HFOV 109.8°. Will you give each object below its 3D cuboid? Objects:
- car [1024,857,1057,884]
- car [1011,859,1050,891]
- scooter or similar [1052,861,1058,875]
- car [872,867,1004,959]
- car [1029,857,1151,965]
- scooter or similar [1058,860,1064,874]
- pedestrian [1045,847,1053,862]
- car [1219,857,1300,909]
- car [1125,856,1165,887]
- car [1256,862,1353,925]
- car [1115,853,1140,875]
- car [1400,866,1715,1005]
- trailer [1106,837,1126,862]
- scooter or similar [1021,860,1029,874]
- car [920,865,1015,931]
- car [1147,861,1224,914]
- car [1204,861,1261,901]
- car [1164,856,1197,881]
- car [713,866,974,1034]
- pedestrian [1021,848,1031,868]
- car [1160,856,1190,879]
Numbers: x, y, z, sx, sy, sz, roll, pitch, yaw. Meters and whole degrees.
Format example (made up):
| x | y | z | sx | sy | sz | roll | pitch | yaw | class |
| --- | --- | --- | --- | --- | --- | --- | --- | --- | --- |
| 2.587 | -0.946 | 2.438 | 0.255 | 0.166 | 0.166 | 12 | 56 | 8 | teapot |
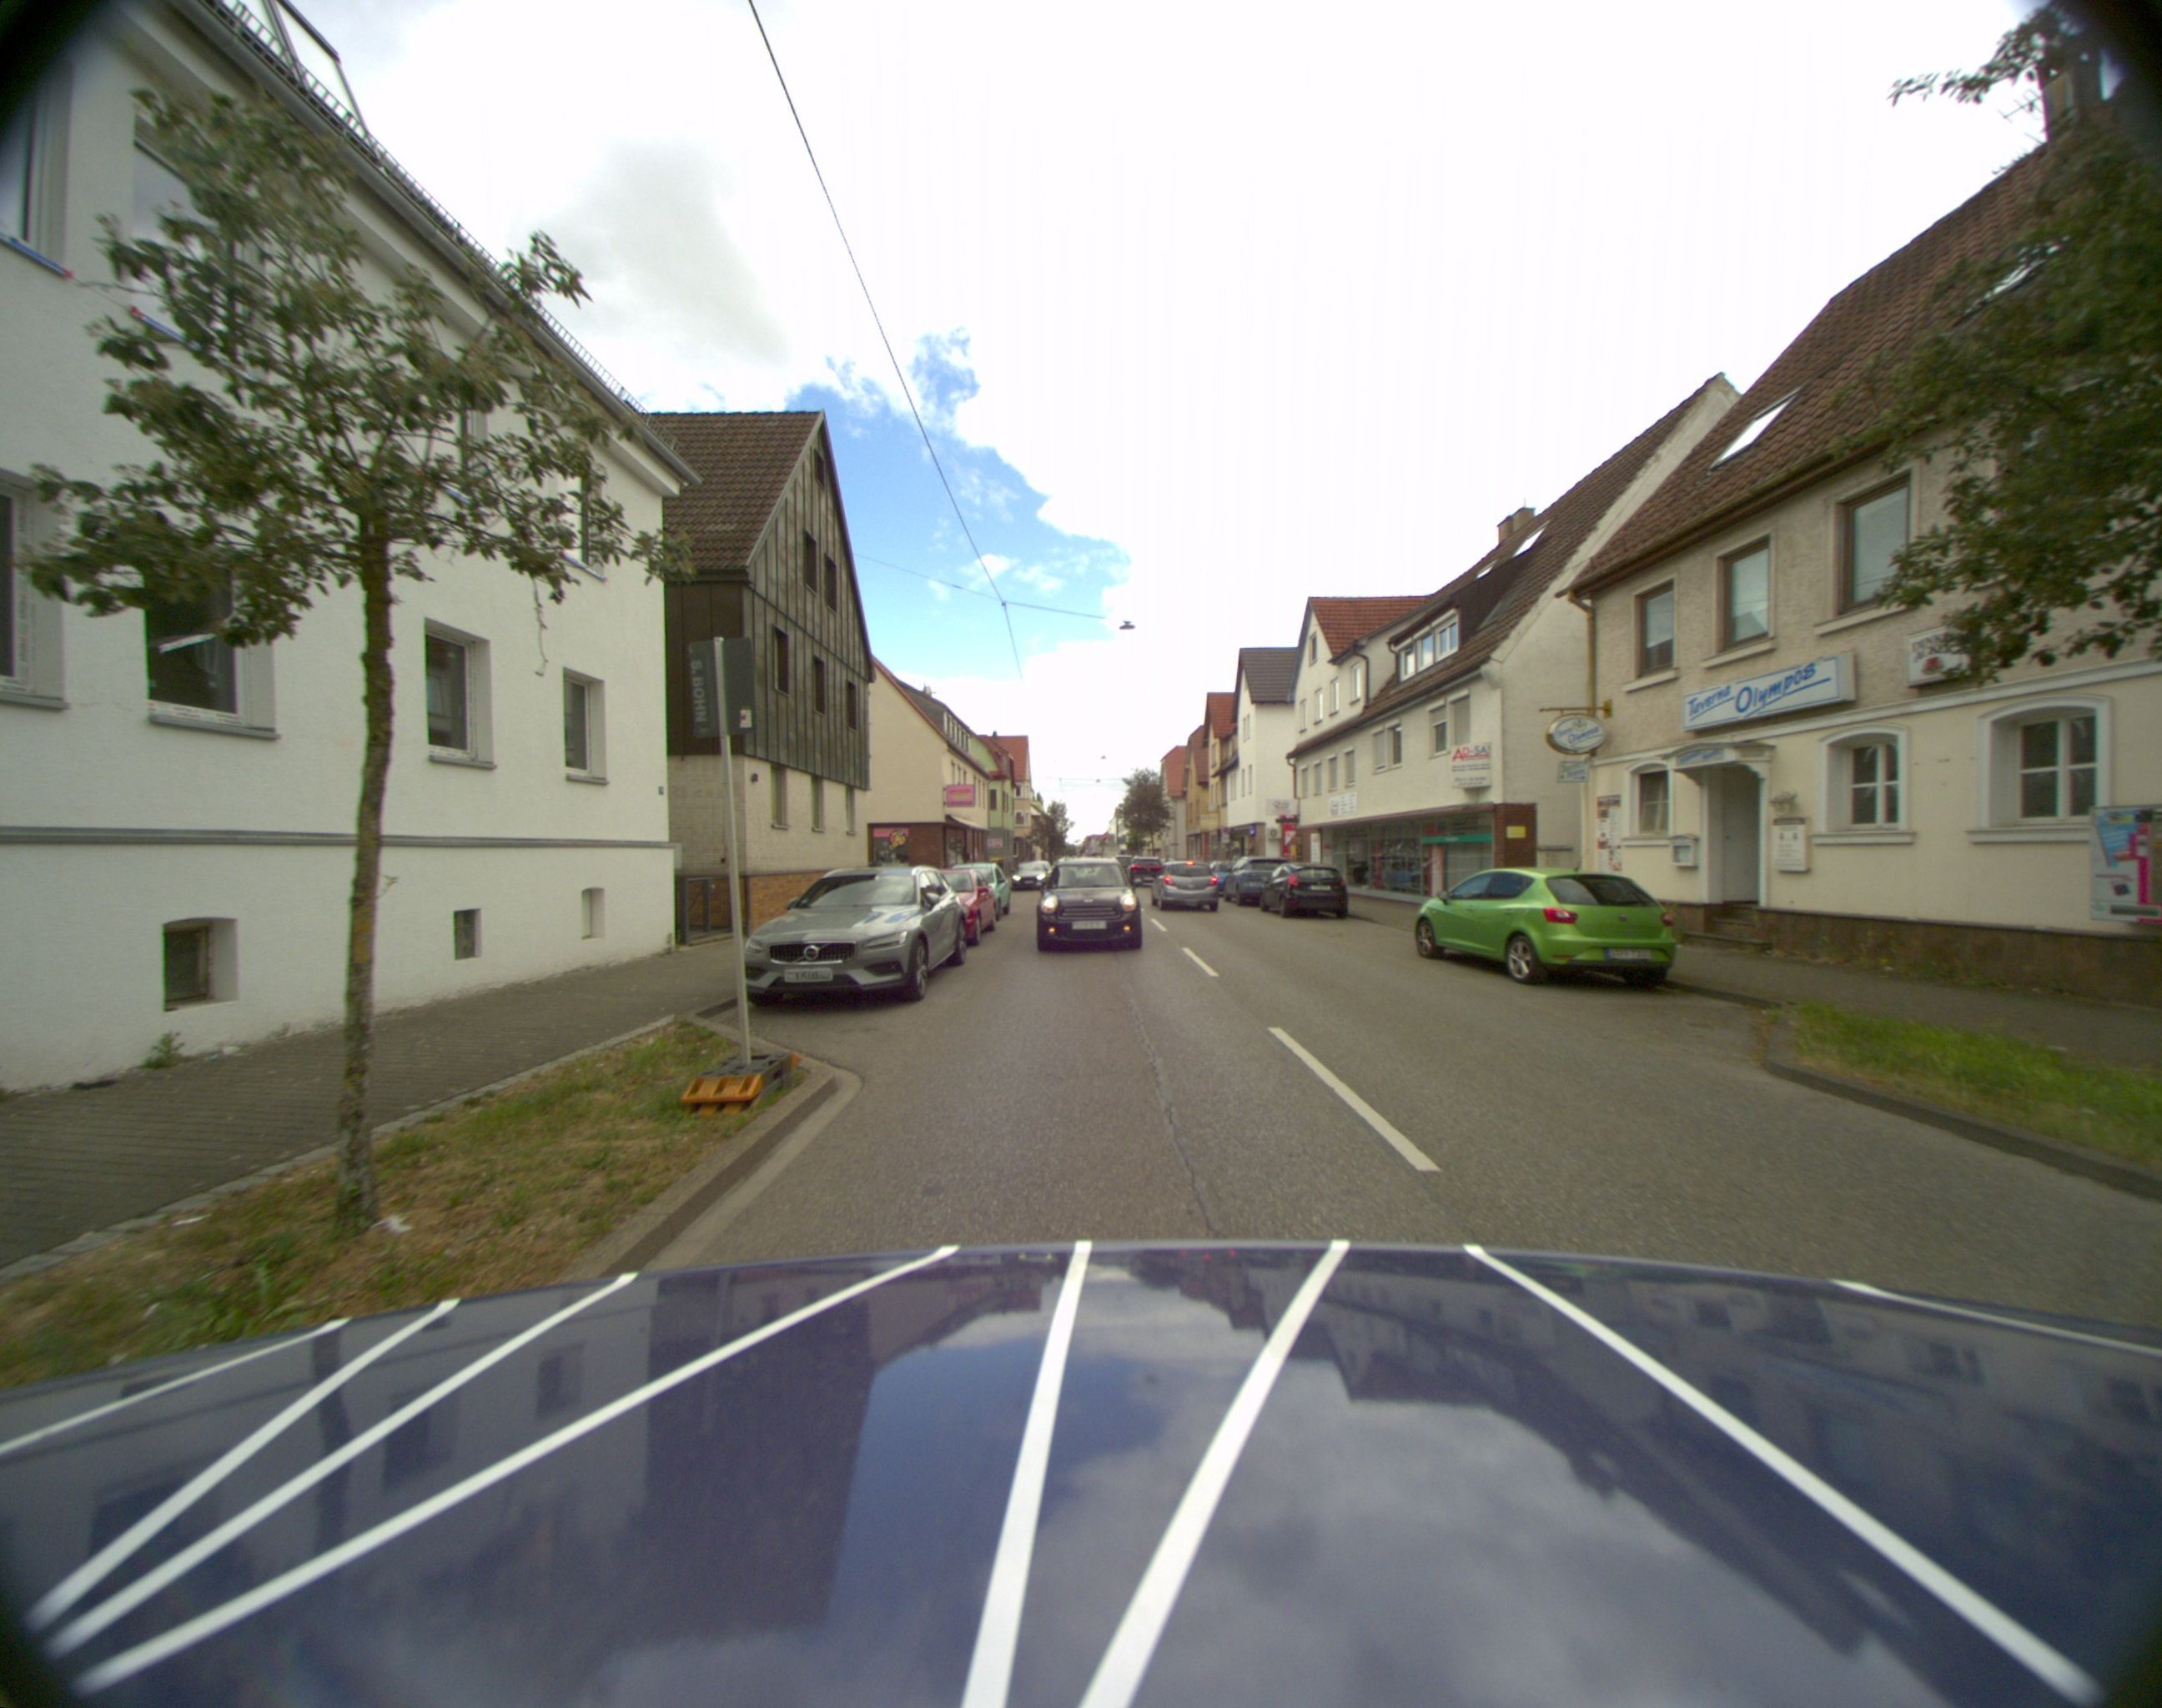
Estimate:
| x | y | z | sx | sy | sz | roll | pitch | yaw | class |
| --- | --- | --- | --- | --- | --- | --- | --- | --- | --- |
| -2.435 | 0.957 | 45.665 | 1.836 | 1.437 | 4.330 | -2 | 0 | -3 | car |
| -2.566 | 1.044 | 39.099 | 1.836 | 1.437 | 4.108 | -2 | 0 | -3 | car |
| -2.357 | 1.221 | 68.772 | 0.503 | 1.228 | 1.942 | -2 | 0 | 0 | scooter or similar |
| -2.688 | 1.061 | 15.312 | 1.759 | 1.437 | 4.454 | -2 | 0 | 0 | car |
| 0.149 | 0.916 | 14.247 | 1.847 | 1.571 | 4.429 | -3 | 0 | 0 | car |
| -1.822 | 1.198 | 68.781 | 0.503 | 1.228 | 1.942 | -2 | 0 | 0 | scooter or similar |
| -4.405 | 0.027 | 104.462 | 0.826 | 2.062 | 1.011 | 2 | 1 | 3 | pedestrian |
| 6.013 | 0.930 | 26.062 | 1.807 | 1.589 | 4.304 | 1 | 0 | 1 | car |
| 3.337 | 0.880 | 40.387 | 1.799 | 1.569 | 4.192 | 1 | 0 | 1 | car |
| 6.028 | 1.016 | 20.942 | 1.585 | 1.499 | 3.812 | 1 | 0 | 1 | car |
| 3.853 | 0.785 | 63.559 | 1.905 | 1.727 | 4.366 | 1 | 0 | 1 | car |
| 6.090 | 0.932 | 10.371 | 1.687 | 1.439 | 4.019 | 1 | 0 | -1 | car |
| 4.833 | -0.644 | 105.489 | 2.509 | 3.201 | 7.134 | -1 | 1 | 2 | trailer |
| -4.809 | 1.132 | 65.548 | 0.591 | 1.225 | 0.891 | -2 | 1 | 0 | scooter or similar |
| -2.929 | 1.093 | 20.492 | 1.835 | 1.489 | 3.993 | -2 | 0 | 1 | car |
| 3.149 | 0.961 | 23.538 | 1.687 | 1.439 | 4.019 | 1 | 0 | -2 | car |
| 6.262 | 1.074 | 31.720 | 1.686 | 1.490 | 3.775 | 1 | 0 | 1 | car |
| 6.271 | 0.869 | 48.218 | 1.686 | 1.484 | 3.591 | 1 | 0 | 1 | car |
| -2.672 | 0.988 | 9.789 | 1.880 | 1.530 | 4.512 | -2 | 0 | 0 | car |
| -4.776 | 0.367 | 66.494 | 0.752 | 1.710 | 0.900 | -2 | 1 | 1 | pedestrian |
| 6.645 | 0.911 | 54.220 | 1.714 | 1.557 | 4.113 | 1 | 0 | 1 | car |
